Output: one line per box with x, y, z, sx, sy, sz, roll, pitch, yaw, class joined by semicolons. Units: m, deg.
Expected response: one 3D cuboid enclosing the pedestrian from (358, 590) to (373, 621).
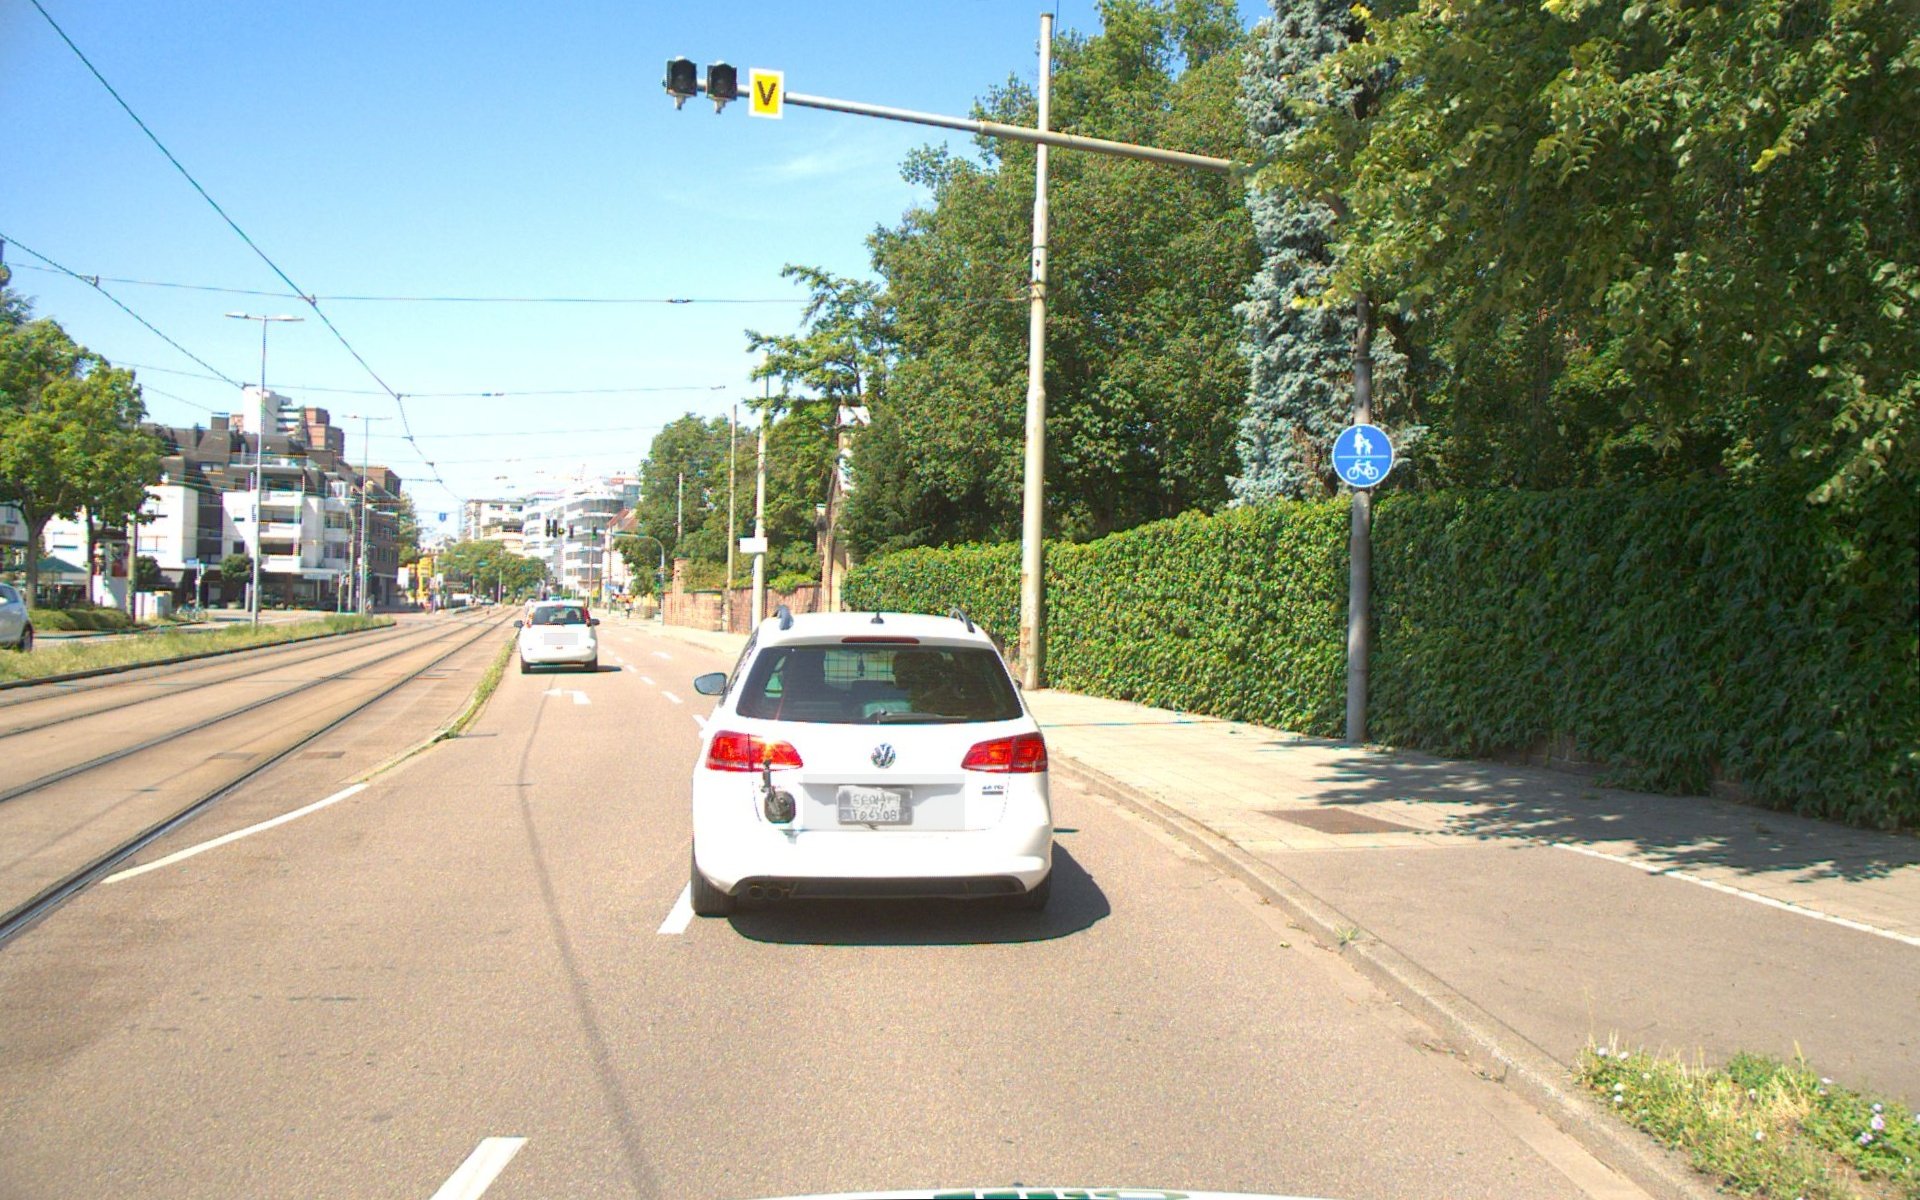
-34.676;0.310;96.448;0.814;1.769;0.926;1;0;-22;pedestrian

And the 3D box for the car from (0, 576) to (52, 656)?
-20.613;0.324;34.234;2.008;1.625;4.643;-1;0;-14;car

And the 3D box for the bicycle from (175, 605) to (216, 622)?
-42.898;0.732;92.835;0.541;0.937;2.174;0;0;29;bicycle

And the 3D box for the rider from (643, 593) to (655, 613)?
-27.113;0.238;144.129;0.876;1.759;2.195;1;0;-14;rider

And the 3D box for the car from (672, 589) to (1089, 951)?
-0.410;0.718;8.904;1.743;1.516;3.845;1;0;-3;car

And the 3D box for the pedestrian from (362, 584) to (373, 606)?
-56.674;-0.470;158.214;0.923;2.049;0.985;0;0;-20;pedestrian

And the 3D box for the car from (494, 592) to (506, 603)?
-68.051;-0.307;244.887;1.670;1.619;3.520;0;0;-15;car

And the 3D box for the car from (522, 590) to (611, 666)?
-8.890;0.605;37.577;1.699;1.624;4.001;1;0;-10;car
